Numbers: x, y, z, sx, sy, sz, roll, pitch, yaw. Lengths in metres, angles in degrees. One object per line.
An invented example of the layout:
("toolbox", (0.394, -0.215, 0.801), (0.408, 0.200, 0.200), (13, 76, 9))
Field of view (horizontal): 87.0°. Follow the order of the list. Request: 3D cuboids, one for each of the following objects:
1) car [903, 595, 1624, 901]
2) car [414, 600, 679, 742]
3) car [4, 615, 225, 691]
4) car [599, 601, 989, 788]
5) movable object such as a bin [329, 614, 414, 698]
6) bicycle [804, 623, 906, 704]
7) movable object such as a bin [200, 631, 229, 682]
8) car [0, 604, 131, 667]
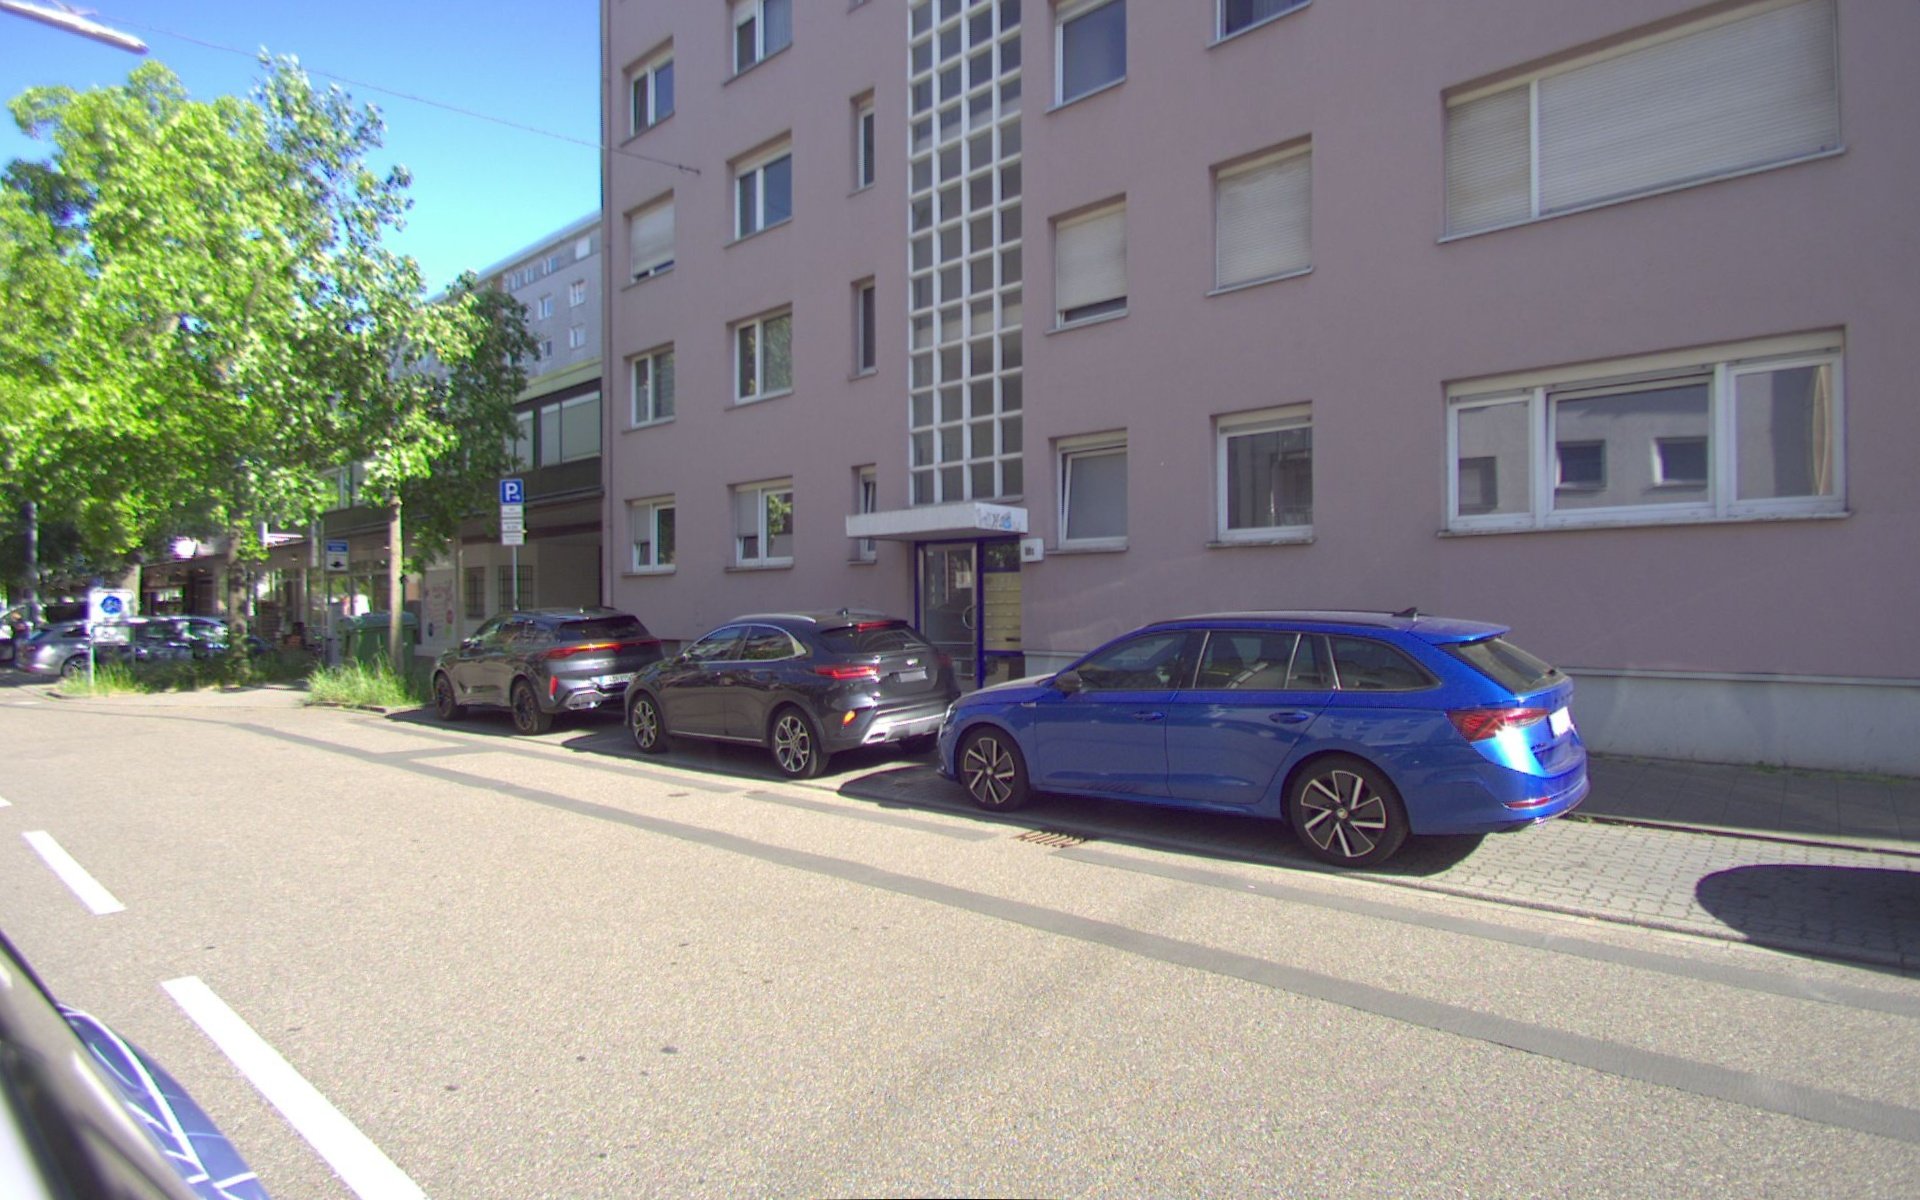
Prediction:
("car", (1.851, 0.773, 7.201), (4.610, 1.476, 1.700), (-1, 1, 41))
("car", (-5.895, 0.887, 14.191), (4.141, 1.604, 1.798), (-1, 2, 43))
("car", (-20.814, 1.228, 25.029), (1.999, 1.687, 3.945), (-1, -1, 41))
("car", (-1.898, 0.832, 10.667), (4.245, 1.519, 1.798), (-1, 1, 43))
("movable object such as a bin", (-11.418, 1.060, 19.633), (1.230, 1.557, 1.019), (0, -1, -44))
("bicycle", (-1.530, 0.886, 14.572), (1.649, 1.084, 0.387), (-1, 3, 42))
("movable object such as a bin", (-18.330, 1.382, 24.883), (0.409, 1.234, 0.482), (-1, -1, 41))
("car", (-31.126, 1.175, 34.686), (1.999, 2.047, 3.945), (-1, -1, 41))
